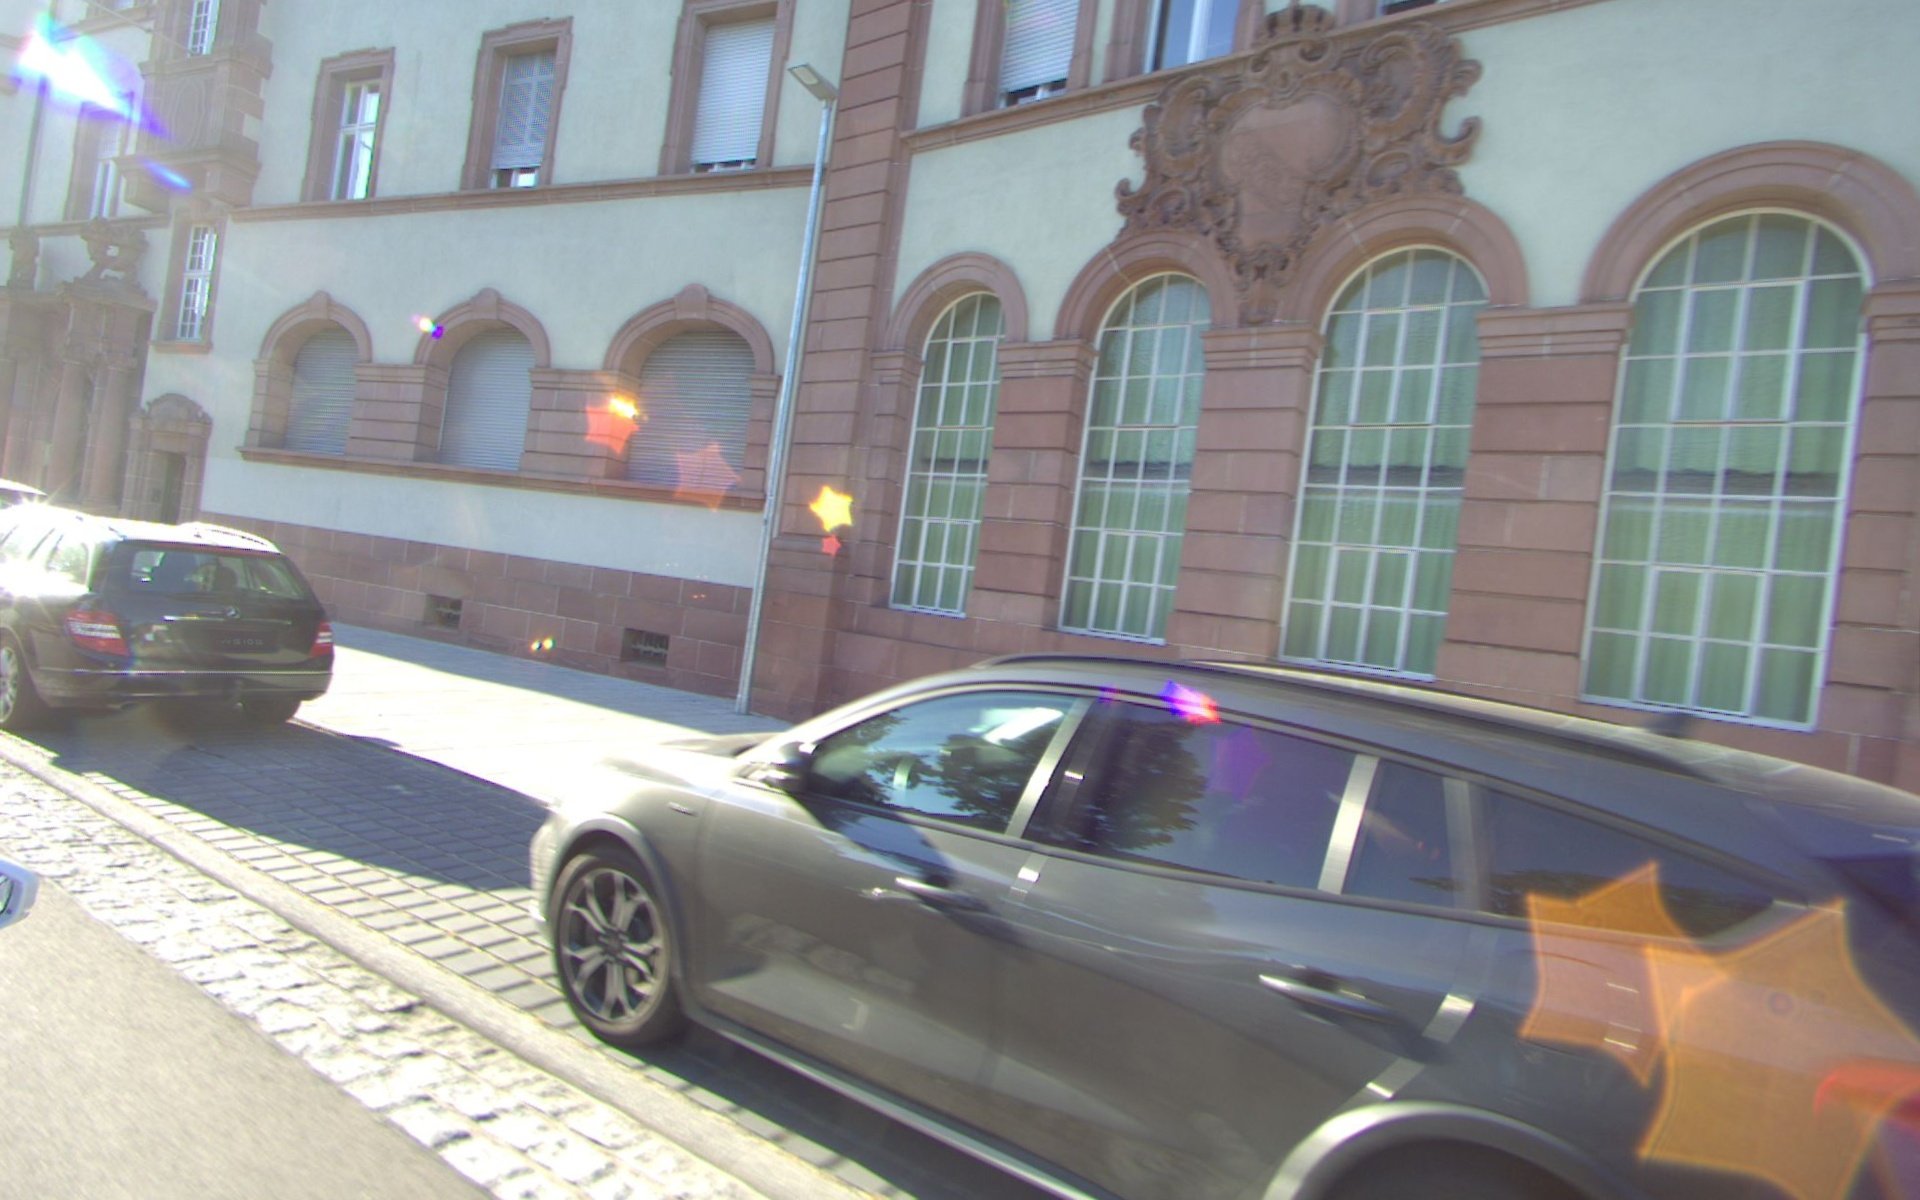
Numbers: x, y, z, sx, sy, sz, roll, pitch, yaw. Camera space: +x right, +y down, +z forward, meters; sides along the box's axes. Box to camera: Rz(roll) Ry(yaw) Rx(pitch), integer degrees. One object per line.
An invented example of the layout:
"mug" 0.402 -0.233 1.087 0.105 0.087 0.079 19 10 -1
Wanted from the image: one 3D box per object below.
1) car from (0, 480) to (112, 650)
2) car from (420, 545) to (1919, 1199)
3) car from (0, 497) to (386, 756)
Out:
"car" -11.087 -0.579 10.633 4.120 1.622 1.819 7 0 29
"car" 0.322 0.849 3.330 4.499 1.550 1.769 7 1 35
"car" -6.821 0.033 7.967 4.445 1.454 1.874 7 0 30
